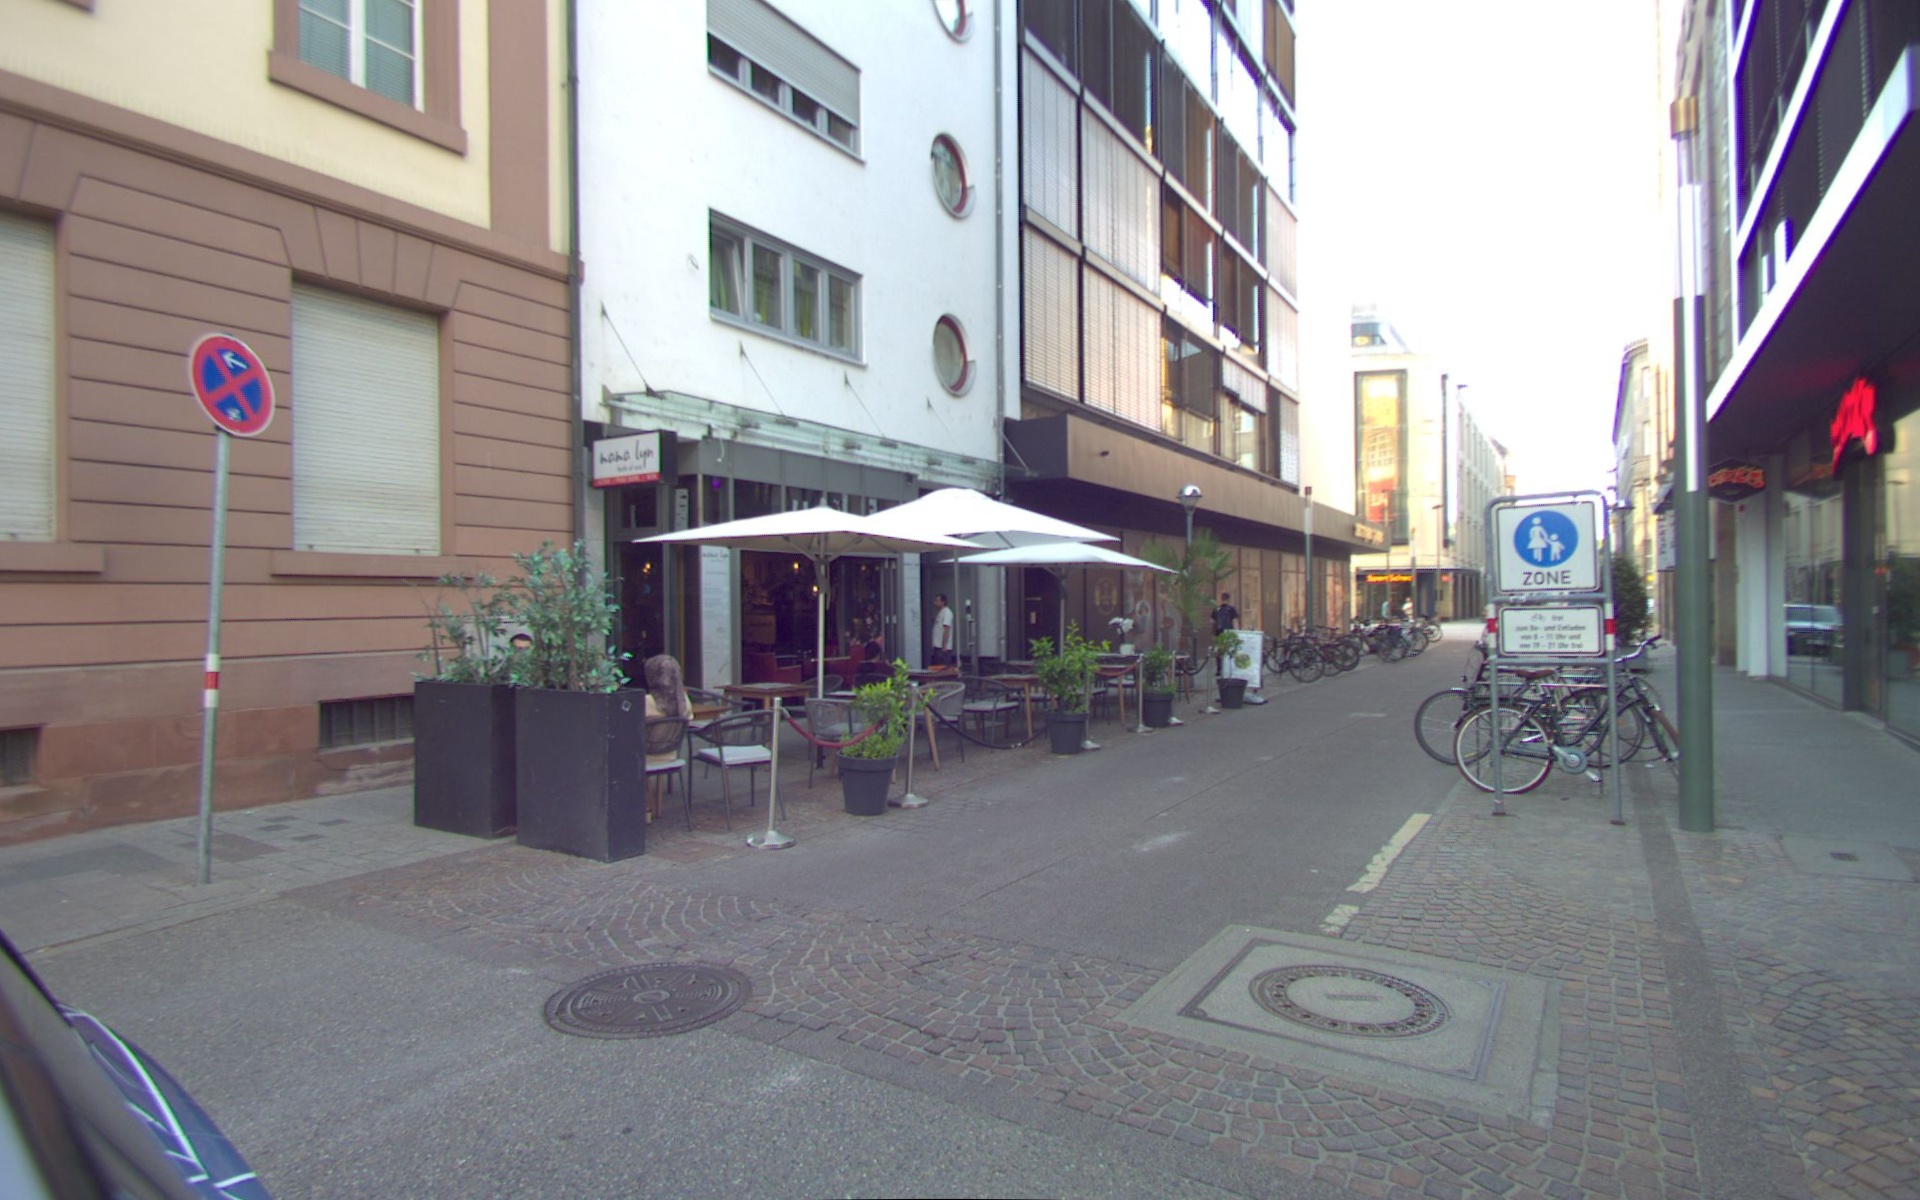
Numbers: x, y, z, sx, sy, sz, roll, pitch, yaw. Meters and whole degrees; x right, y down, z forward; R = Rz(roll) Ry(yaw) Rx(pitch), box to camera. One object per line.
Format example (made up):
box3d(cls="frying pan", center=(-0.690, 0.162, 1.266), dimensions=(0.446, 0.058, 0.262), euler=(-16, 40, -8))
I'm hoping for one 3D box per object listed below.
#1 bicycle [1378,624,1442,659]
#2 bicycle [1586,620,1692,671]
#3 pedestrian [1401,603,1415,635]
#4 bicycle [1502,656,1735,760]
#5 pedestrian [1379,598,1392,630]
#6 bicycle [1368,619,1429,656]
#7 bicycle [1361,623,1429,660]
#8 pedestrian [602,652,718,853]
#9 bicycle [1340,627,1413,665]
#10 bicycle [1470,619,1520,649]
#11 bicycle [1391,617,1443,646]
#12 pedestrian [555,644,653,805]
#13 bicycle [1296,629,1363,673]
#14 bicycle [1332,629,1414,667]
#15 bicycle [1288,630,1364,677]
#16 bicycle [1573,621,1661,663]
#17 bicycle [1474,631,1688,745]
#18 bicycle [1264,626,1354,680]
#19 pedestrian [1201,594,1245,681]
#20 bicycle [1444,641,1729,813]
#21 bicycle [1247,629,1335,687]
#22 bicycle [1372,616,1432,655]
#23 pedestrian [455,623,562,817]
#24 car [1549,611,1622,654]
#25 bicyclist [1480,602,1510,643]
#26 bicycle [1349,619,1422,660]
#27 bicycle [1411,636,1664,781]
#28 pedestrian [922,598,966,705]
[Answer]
box3d(cls="bicycle", center=(13.653, 1.255, 30.737), dimensions=(1.727, 1.059, 0.461), euler=(-1, -1, 32))
box3d(cls="bicycle", center=(14.197, 0.964, 21.212), dimensions=(1.787, 1.022, 0.364), euler=(-2, -2, 32))
box3d(cls="pedestrian", center=(22.234, 0.956, 50.238), dimensions=(0.469, 1.585, 0.381), euler=(-1, -1, -19))
box3d(cls="bicycle", center=(6.220, 1.015, 9.666), dimensions=(1.787, 0.902, 0.449), euler=(-3, -2, 32))
box3d(cls="pedestrian", center=(21.215, 0.708, 50.460), dimensions=(0.474, 1.564, 0.432), euler=(-1, -1, 16))
box3d(cls="bicycle", center=(13.938, 1.194, 32.181), dimensions=(1.727, 1.154, 0.461), euler=(-1, -1, 32))
box3d(cls="bicycle", center=(12.837, 1.220, 29.885), dimensions=(1.771, 1.059, 0.461), euler=(-1, -1, 32))
box3d(cls="pedestrian", center=(-1.967, 0.963, 6.652), dimensions=(0.460, 1.221, 0.555), euler=(-1, -1, 34))
box3d(cls="bicycle", center=(11.351, 1.250, 27.596), dimensions=(1.789, 1.016, 0.525), euler=(-1, -1, 32))
box3d(cls="bicycle", center=(19.209, 1.205, 36.339), dimensions=(1.763, 1.022, 0.586), euler=(-1, -1, -23))
box3d(cls="bicycle", center=(17.219, 1.173, 38.115), dimensions=(1.727, 1.069, 0.432), euler=(-1, -1, 32))
box3d(cls="pedestrian", center=(-2.884, 0.978, 8.200), dimensions=(0.523, 1.221, 0.543), euler=(-1, -1, 35))
box3d(cls="bicycle", center=(8.849, 1.222, 24.260), dimensions=(1.450, 1.013, 0.461), euler=(-1, -1, 32))
box3d(cls="bicycle", center=(10.805, 1.245, 26.518), dimensions=(1.938, 0.964, 0.461), euler=(-1, -1, 32))
box3d(cls="bicycle", center=(8.342, 1.205, 23.070), dimensions=(1.551, 1.045, 0.461), euler=(-1, -1, 32))
box3d(cls="bicycle", center=(16.308, 1.048, 25.171), dimensions=(1.787, 1.022, 0.364), euler=(-2, -2, 32))
box3d(cls="bicycle", center=(6.732, 0.937, 11.066), dimensions=(1.905, 1.153, 0.551), euler=(-2, -2, 32))
box3d(cls="bicycle", center=(7.435, 1.110, 21.568), dimensions=(1.722, 1.100, 0.543), euler=(-1, -1, 32))
box3d(cls="pedestrian", center=(5.602, 0.778, 21.549), dimensions=(0.736, 1.798, 0.961), euler=(-1, -1, 24))
box3d(cls="bicycle", center=(4.549, 0.892, 7.468), dimensions=(1.668, 1.122, 0.702), euler=(-3, -2, 32))
box3d(cls="bicycle", center=(6.477, 1.127, 19.812), dimensions=(1.537, 1.093, 0.543), euler=(-1, -1, 32))
box3d(cls="bicycle", center=(14.362, 1.151, 32.910), dimensions=(1.727, 1.238, 0.461), euler=(-1, -1, 32))
box3d(cls="pedestrian", center=(-3.347, 0.856, 7.509), dimensions=(0.487, 1.359, 0.543), euler=(-1, -1, 34))
box3d(cls="car", center=(19.495, 0.979, 31.482), dimensions=(1.626, 1.231, 3.443), euler=(-1, -1, 37))
box3d(cls="bicyclist", center=(19.219, 0.804, 36.345), dimensions=(0.724, 1.459, 0.576), euler=(-1, -2, -23))
box3d(cls="bicycle", center=(12.118, 1.126, 28.828), dimensions=(1.842, 1.144, 0.461), euler=(-1, -1, 32))
box3d(cls="bicycle", center=(5.051, 0.929, 8.947), dimensions=(1.835, 1.159, 0.603), euler=(-3, -2, 32))
box3d(cls="pedestrian", center=(-0.255, 0.815, 16.261), dimensions=(0.617, 1.678, 0.669), euler=(-1, -1, 5))
